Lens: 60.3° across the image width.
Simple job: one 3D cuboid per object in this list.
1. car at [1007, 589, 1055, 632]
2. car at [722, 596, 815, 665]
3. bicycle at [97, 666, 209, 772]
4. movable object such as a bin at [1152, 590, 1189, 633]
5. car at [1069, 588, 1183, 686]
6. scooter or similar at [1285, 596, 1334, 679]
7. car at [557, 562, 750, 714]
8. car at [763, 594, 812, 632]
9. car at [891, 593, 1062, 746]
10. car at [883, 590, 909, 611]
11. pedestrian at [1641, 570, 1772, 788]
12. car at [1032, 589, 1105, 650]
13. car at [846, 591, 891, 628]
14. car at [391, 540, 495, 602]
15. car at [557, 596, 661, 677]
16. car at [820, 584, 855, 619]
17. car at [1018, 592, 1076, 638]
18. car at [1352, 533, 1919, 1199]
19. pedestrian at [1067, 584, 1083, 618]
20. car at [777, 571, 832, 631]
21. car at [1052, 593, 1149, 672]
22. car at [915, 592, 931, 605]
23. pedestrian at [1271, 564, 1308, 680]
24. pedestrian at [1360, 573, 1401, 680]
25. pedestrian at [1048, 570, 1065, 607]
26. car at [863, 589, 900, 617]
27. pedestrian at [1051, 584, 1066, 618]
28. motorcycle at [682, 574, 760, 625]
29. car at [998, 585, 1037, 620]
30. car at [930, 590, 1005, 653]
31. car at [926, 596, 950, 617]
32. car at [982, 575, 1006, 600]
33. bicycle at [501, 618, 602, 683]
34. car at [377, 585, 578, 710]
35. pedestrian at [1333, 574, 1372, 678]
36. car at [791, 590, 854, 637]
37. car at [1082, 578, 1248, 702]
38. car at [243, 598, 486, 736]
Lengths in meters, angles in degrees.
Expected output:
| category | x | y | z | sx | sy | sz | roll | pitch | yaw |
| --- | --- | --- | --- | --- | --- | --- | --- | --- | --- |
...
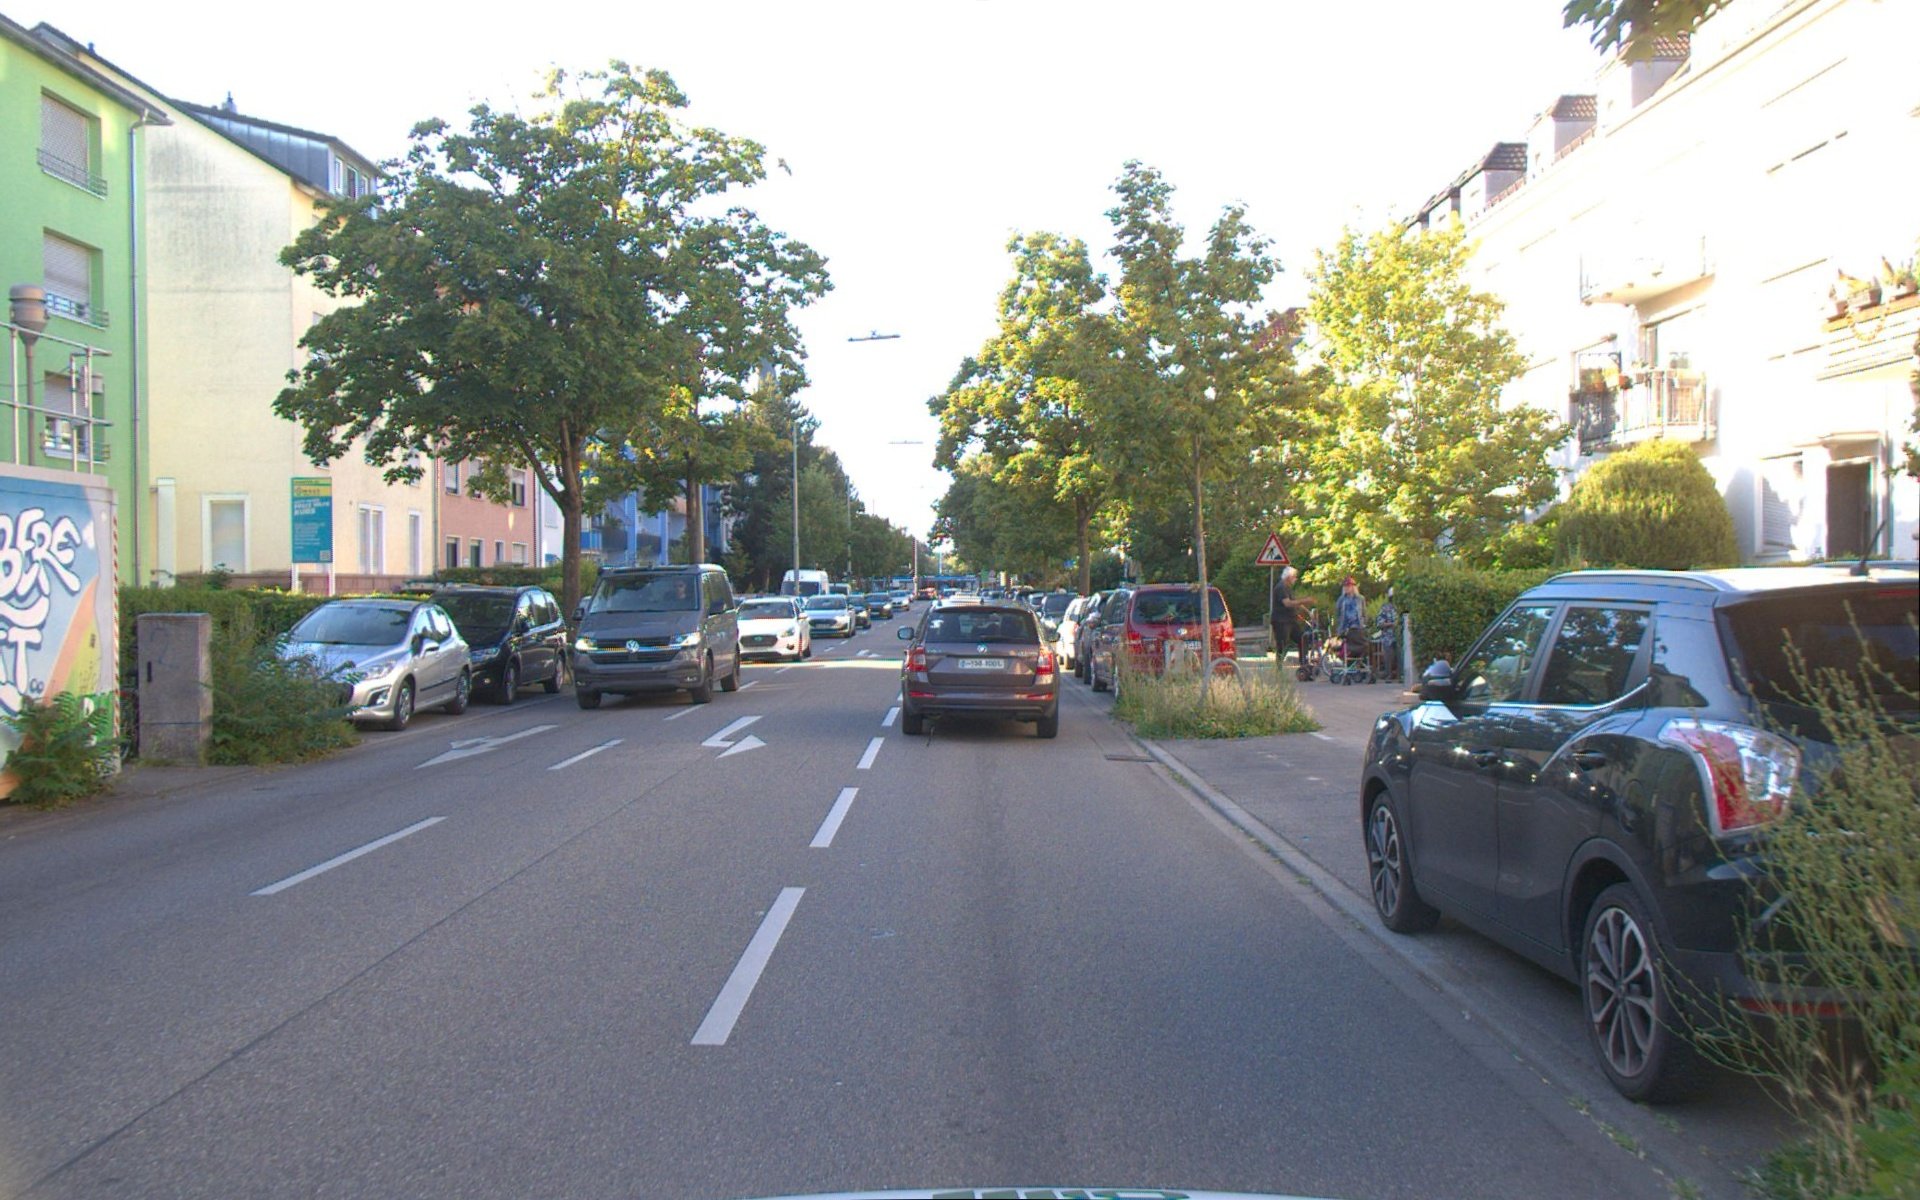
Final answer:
| category | x | y | z | sx | sy | sz | roll | pitch | yaw |
| --- | --- | --- | --- | --- | --- | --- | --- | --- | --- |
| car | 2.752 | 0.385 | 64.827 | 1.683 | 1.629 | 4.095 | 0 | 0 | -1 |
| car | -4.504 | 0.686 | 39.398 | 1.779 | 1.472 | 4.109 | -3 | 0 | -1 |
| bicycle | -7.541 | 1.089 | 15.509 | 0.363 | 0.876 | 1.543 | 1 | 0 | -4 |
| movable object such as a bin | 7.753 | 0.410 | 60.976 | 1.240 | 1.518 | 1.140 | -3 | 0 | 9 |
| car | 2.898 | 0.607 | 29.535 | 1.603 | 1.596 | 4.000 | -1 | 0 | 0 |
| scooter or similar | 5.748 | 0.612 | 27.230 | 0.730 | 1.340 | 0.721 | 0 | 0 | 6 |
| car | -4.460 | 0.507 | 24.830 | 1.953 | 1.980 | 4.777 | -2 | 0 | 0 |
| car | -7.430 | 0.531 | 71.544 | 1.672 | 1.518 | 4.058 | 2 | 0 | 0 |
| car | 0.222 | 0.698 | 18.892 | 1.718 | 1.518 | 4.001 | 1 | 0 | 1 |
| car | -4.883 | 0.026 | 125.825 | 1.842 | 1.570 | 4.264 | 0 | 0 | -3 |
| pedestrian | 5.671 | 0.578 | 12.589 | 0.547 | 1.595 | 0.744 | 0 | 0 | -18 |
| car | 3.045 | 0.512 | 47.150 | 1.835 | 1.608 | 4.821 | -2 | 0 | 1 |
| car | -3.827 | 0.370 | 69.442 | 1.665 | 1.428 | 4.027 | -2 | 0 | -1 |
| car | -14.986 | -0.814 | 48.122 | 1.790 | 1.712 | 3.999 | 0 | 0 | -1 |
| car | -7.382 | 0.742 | 35.029 | 1.468 | 1.645 | 2.862 | 0 | 0 | 3 |
| car | -7.458 | 0.082 | 100.999 | 1.831 | 2.067 | 5.300 | 1 | 0 | -1 |
| car | 2.990 | 0.504 | 57.450 | 1.683 | 1.520 | 4.393 | 0 | 0 | -1 |
| car | 2.870 | 0.639 | 6.173 | 1.756 | 1.660 | 4.028 | -2 | 0 | -1 |
| pedestrian | 6.447 | 0.069 | 92.567 | 0.781 | 1.893 | 0.951 | -1 | 0 | 11 |
| car | -7.270 | 0.007 | 77.846 | 1.953 | 2.662 | 7.104 | 1 | 0 | -1 |
| car | 2.916 | 0.635 | 34.968 | 1.603 | 1.516 | 4.415 | -1 | 0 | -1 |
| car | -4.987 | -0.195 | 222.121 | 1.955 | 1.780 | 3.995 | 0 | 0 | -5 |
| pedestrian | 5.427 | 0.356 | 27.257 | 0.537 | 1.882 | 0.765 | 0 | 0 | 7 |
| pedestrian | 6.806 | 0.424 | 26.803 | 0.500 | 1.726 | 0.526 | 0 | 0 | -5 |
| pedestrian | 4.517 | -0.529 | 77.139 | 0.771 | 1.730 | 0.808 | 0 | 0 | 4 |
| car | -4.334 | 0.148 | 92.049 | 1.664 | 1.496 | 4.295 | -1 | 0 | 2 |
| pedestrian | 5.531 | 0.051 | 92.903 | 0.733 | 1.893 | 1.068 | -1 | 0 | -1 |
| motorcycle | -6.971 | -0.009 | 48.236 | 2.002 | 1.413 | 0.980 | 2 | -1 | -32 |
| car | 3.154 | 0.128 | 91.337 | 1.764 | 1.840 | 4.422 | 1 | 0 | -2 |
| car | 0.174 | 0.583 | 44.949 | 1.854 | 1.532 | 3.789 | 3 | -1 | -1 |
| car | -1.735 | 0.502 | 130.372 | 1.745 | 1.506 | 3.968 | 1 | 0 | -3 |
| car | 2.686 | -0.995 | 130.651 | 1.877 | 1.893 | 5.634 | 0 | 0 | 1 |
| bicycle | -7.342 | 0.904 | 29.746 | 1.640 | 1.108 | 0.560 | 1 | 0 | 1 |
| car | -7.399 | 0.667 | 25.863 | 1.747 | 1.763 | 4.617 | 0 | 0 | 0 |
| pedestrian | 6.554 | 0.429 | 27.610 | 0.500 | 1.726 | 0.526 | 0 | 0 | -5 |
| car | -4.762 | 0.445 | 57.608 | 1.795 | 1.496 | 4.451 | -3 | 0 | -1 |
| car | 2.952 | 0.529 | 24.725 | 1.687 | 1.684 | 4.595 | 0 | 0 | -3 |
| car | -7.358 | 0.754 | 20.856 | 1.648 | 1.547 | 4.190 | 0 | 0 | -2 |
